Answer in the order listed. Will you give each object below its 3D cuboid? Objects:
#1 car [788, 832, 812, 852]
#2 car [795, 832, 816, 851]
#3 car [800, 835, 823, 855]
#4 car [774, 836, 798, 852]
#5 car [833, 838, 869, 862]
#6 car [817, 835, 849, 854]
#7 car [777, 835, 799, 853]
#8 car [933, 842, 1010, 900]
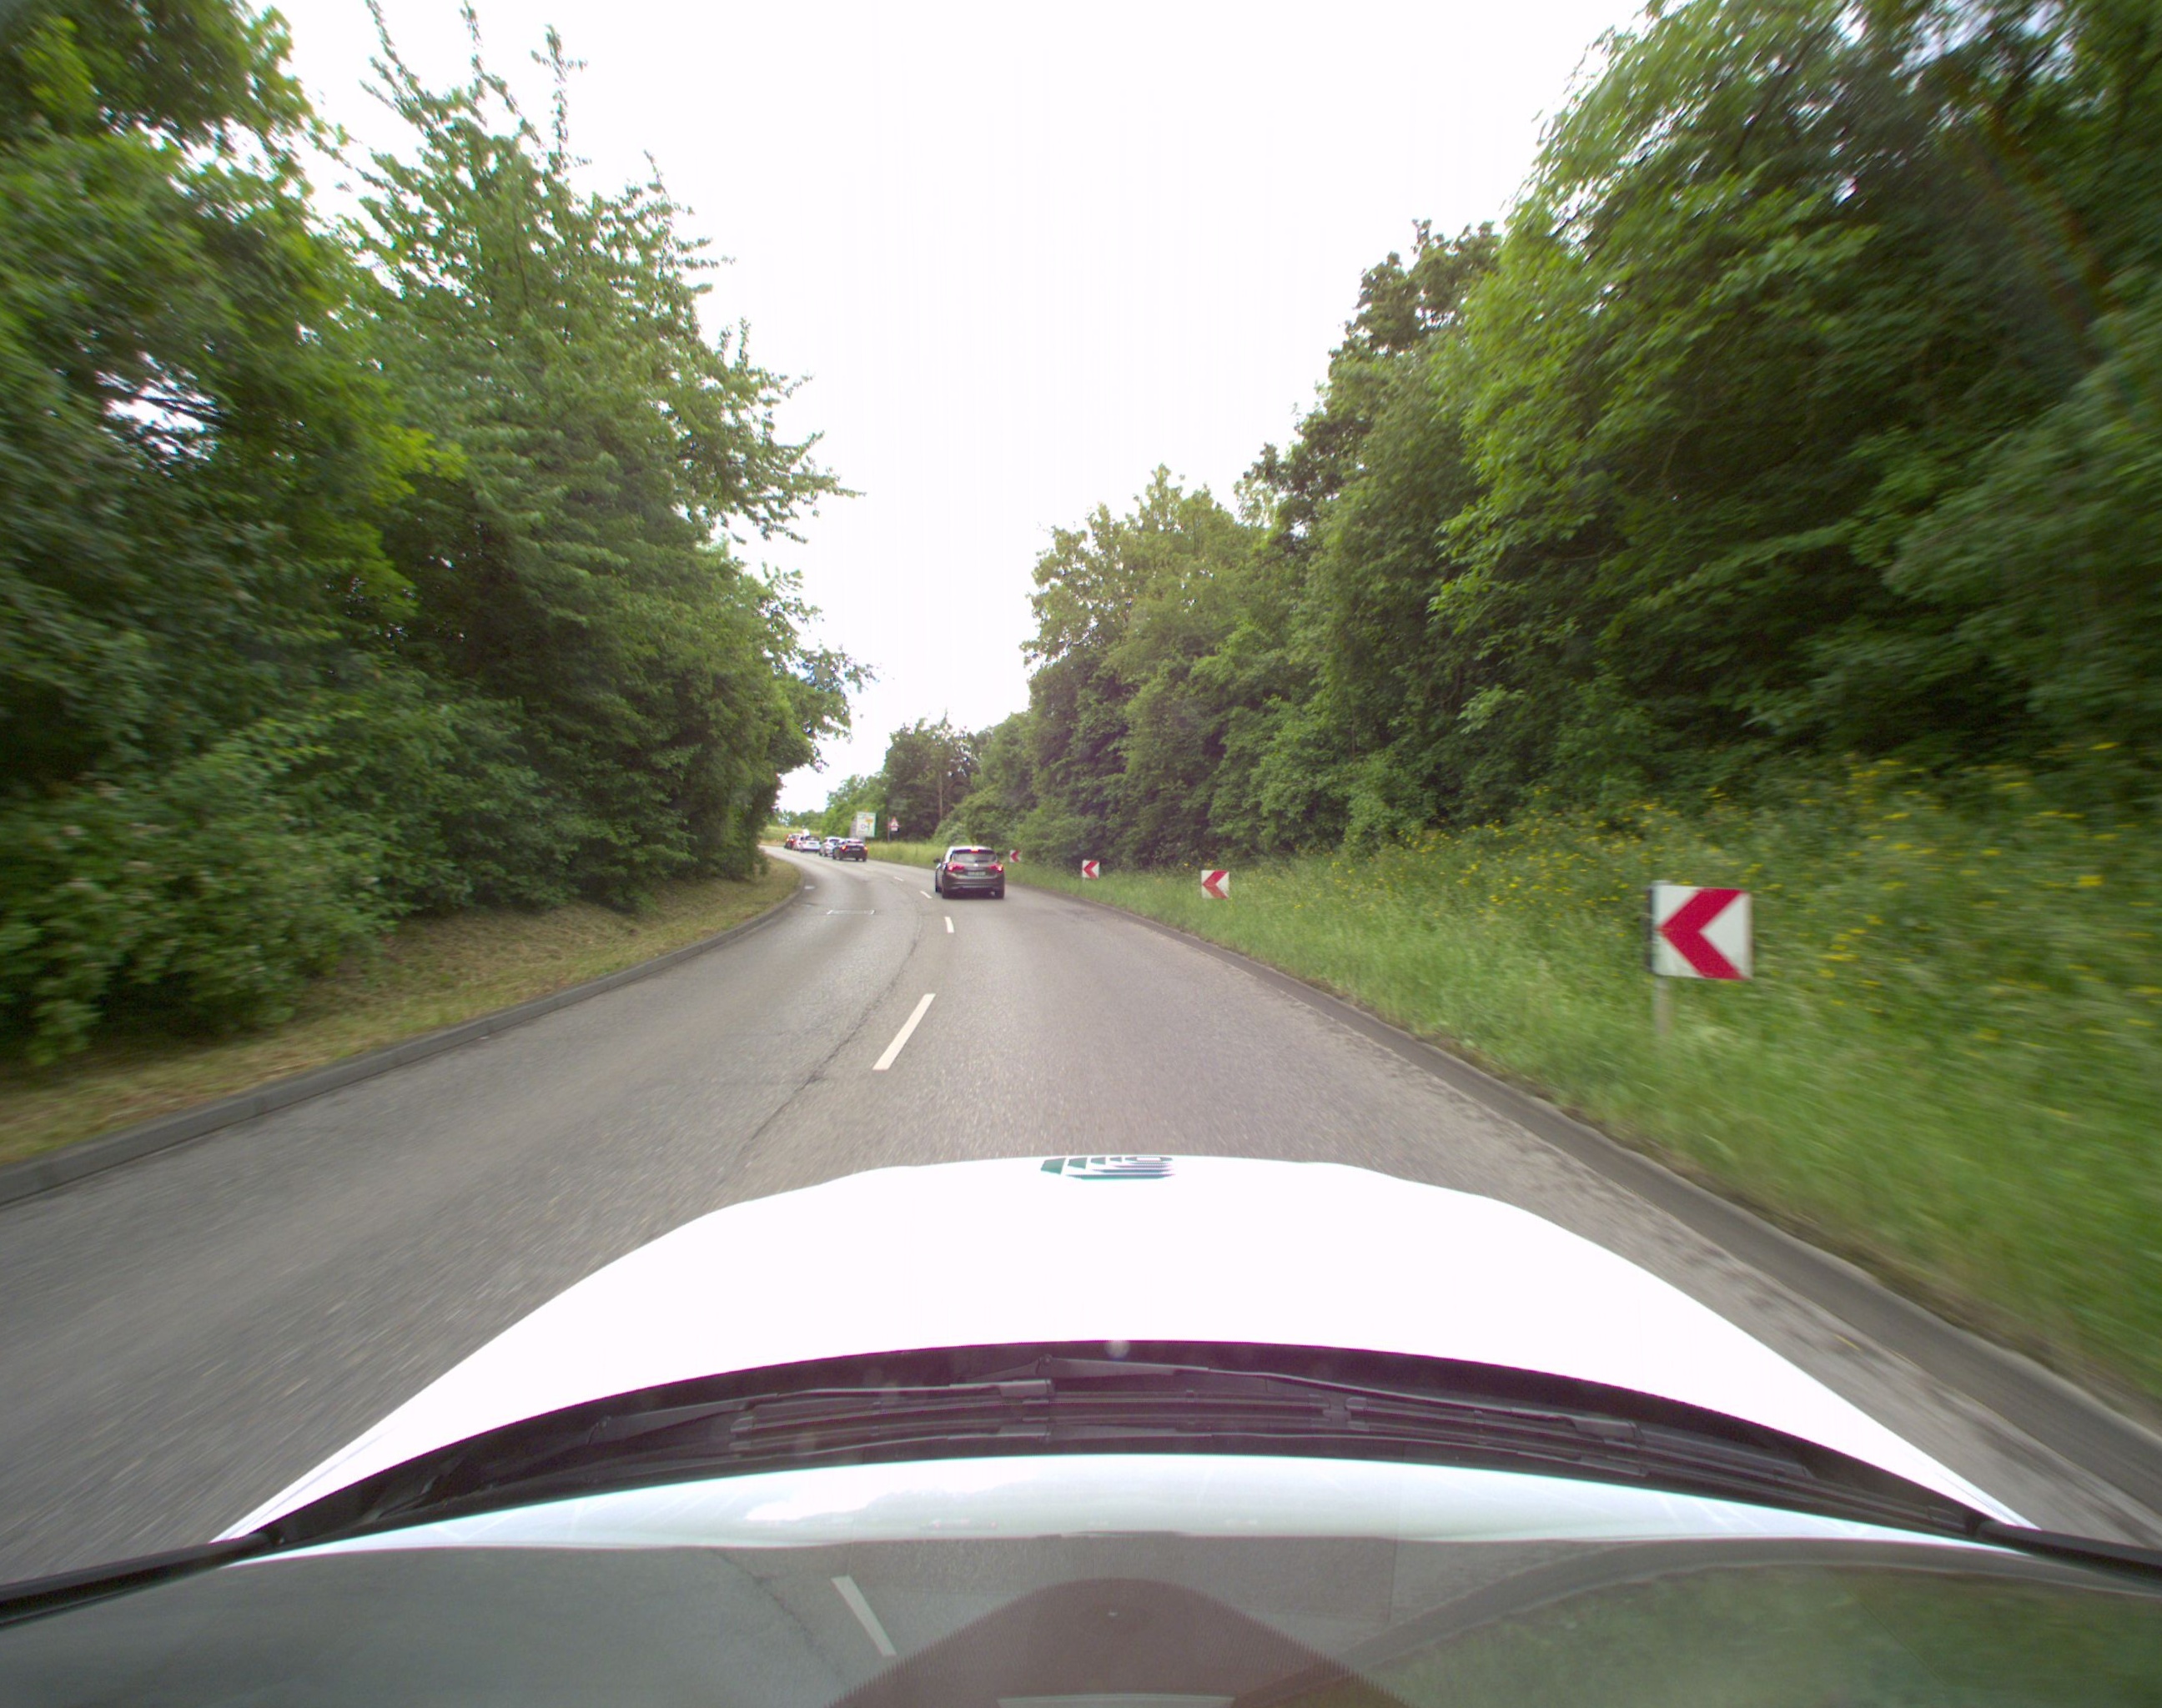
[{"bbox_3d":[-28.727,-1.227,83.267,2.002,1.783,3.968,-2,-1,-23],"label":"car"},{"bbox_3d":[-26.699,-1.172,78.830,1.777,1.633,3.864,0,-2,-21],"label":"car"},{"bbox_3d":[-23.823,-0.740,71.811,1.777,1.633,3.865,0,-1,-21],"label":"car"},{"bbox_3d":[-34.830,-1.130,96.054,2.005,1.783,3.963,2,-1,-28],"label":"car"},{"bbox_3d":[-15.370,-0.280,54.285,1.847,1.386,3.971,1,3,-23],"label":"car"},{"bbox_3d":[-19.056,-0.744,62.425,1.848,1.387,3.968,0,2,-24],"label":"car"},{"bbox_3d":[-32.550,-1.103,90.425,2.002,1.783,3.968,1,-3,-23],"label":"car"},{"bbox_3d":[-3.384,0.447,24.521,1.842,1.483,3.982,-1,2,-14],"label":"car"}]
